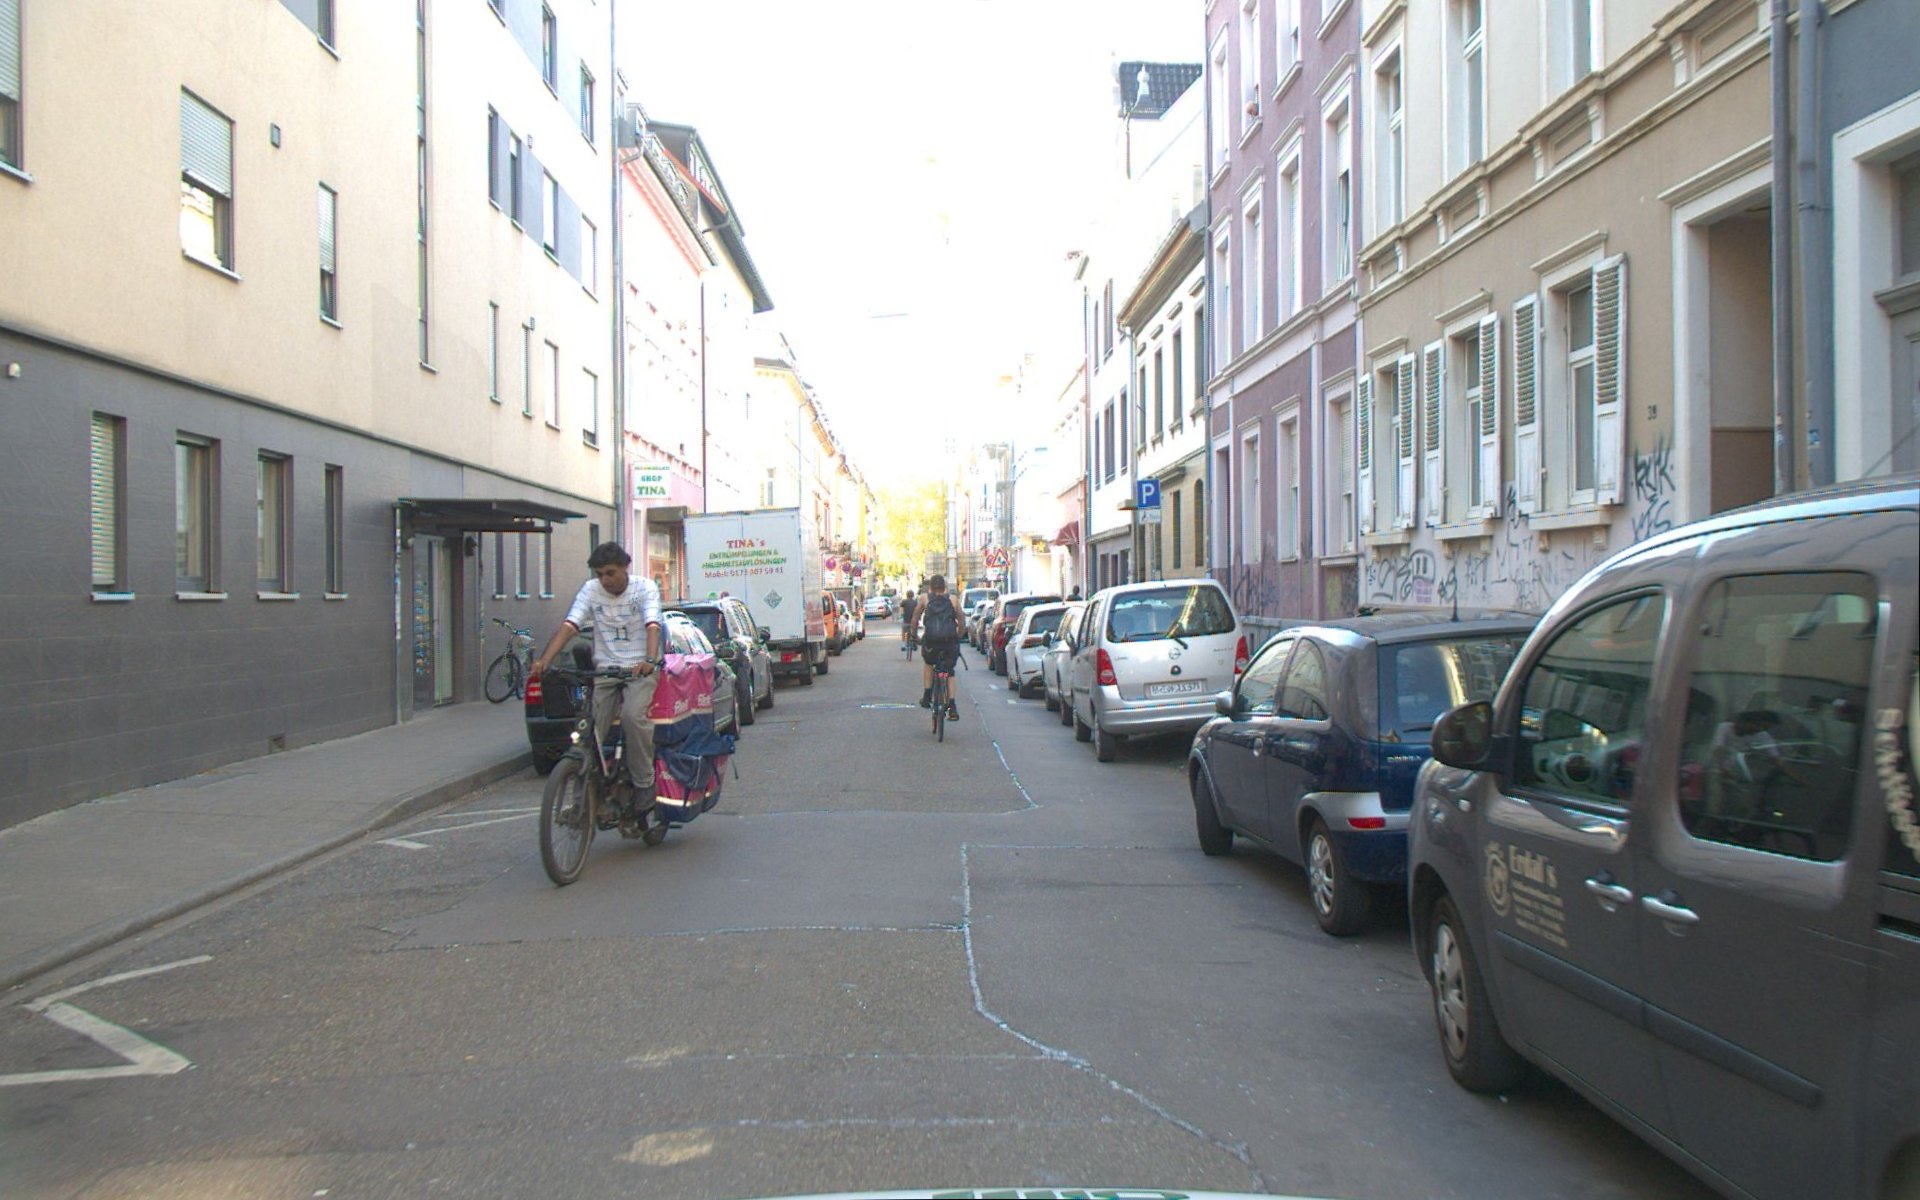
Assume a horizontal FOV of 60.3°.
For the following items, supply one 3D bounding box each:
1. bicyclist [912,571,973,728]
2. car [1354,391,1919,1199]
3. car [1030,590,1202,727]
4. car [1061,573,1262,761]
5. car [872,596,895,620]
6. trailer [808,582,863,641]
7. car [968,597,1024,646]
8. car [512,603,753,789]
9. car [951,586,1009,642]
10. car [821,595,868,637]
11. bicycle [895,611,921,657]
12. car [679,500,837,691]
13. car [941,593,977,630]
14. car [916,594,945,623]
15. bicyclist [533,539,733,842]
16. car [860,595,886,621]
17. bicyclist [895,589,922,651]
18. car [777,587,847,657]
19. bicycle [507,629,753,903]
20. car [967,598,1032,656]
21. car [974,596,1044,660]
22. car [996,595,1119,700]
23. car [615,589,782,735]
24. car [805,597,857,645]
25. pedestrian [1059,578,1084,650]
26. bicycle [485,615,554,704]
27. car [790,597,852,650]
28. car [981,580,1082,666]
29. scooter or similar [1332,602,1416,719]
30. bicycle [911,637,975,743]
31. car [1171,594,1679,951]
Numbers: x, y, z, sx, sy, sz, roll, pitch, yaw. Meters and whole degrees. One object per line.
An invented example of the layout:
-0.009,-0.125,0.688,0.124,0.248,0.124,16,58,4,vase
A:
-0.205,0.541,18.598,0.654,1.706,1.096,0,-1,-2,bicyclist
2.466,0.582,4.018,1.861,1.825,4.313,0,0,-2,car
1.990,0.725,22.318,1.663,1.570,4.627,-3,0,-2,car
1.987,0.639,17.142,1.525,1.742,3.557,0,-1,-2,car
-6.158,0.658,133.144,1.715,1.853,3.794,-2,0,-2,car
-4.694,0.448,62.742,1.844,2.129,3.735,-2,0,-2,trailer
1.162,0.702,54.659,1.714,1.513,3.799,-2,0,0,car
-3.236,0.867,17.181,1.682,1.504,4.497,-3,1,-2,car
0.694,0.492,59.709,1.716,1.911,3.969,-2,0,-4,car
-4.631,0.626,66.957,1.715,1.600,3.794,-2,0,-2,car
-1.336,0.871,42.676,0.635,1.149,2.135,0,-1,-2,bicycle
-3.902,-0.058,33.382,2.296,3.349,7.152,-3,0,-1,car
-0.055,0.534,77.319,1.579,1.662,3.609,0,0,-2,car
-1.704,0.495,93.275,1.579,1.587,3.609,0,0,-2,car
-1.901,0.503,9.759,0.931,1.656,0.953,-3,0,-1,bicyclist
-6.111,0.562,116.084,1.715,1.713,3.794,-2,0,-2,car
-1.335,0.515,42.678,0.657,1.595,0.716,0,-1,-3,bicyclist
-4.209,0.632,47.576,1.717,1.848,4.076,-3,0,-2,car
-1.885,0.891,9.918,0.957,1.337,2.555,-2,0,-1,bicycle
1.120,0.767,48.736,1.613,1.500,3.969,-5,0,-2,car
1.267,0.727,44.226,1.633,1.531,3.815,-3,0,-1,car
1.582,0.763,28.053,1.653,1.570,4.044,-3,0,-2,car
-3.490,0.759,22.773,1.682,1.679,4.244,-3,1,-2,car
-4.495,0.730,58.132,1.620,1.564,3.633,-2,0,-2,car
3.220,0.398,47.688,0.631,2.049,0.763,0,-1,-2,pedestrian
-6.298,0.832,23.710,0.480,1.185,1.773,-3,0,-1,bicycle
-4.417,0.739,53.097,1.715,1.564,4.317,-2,0,-2,car
1.494,0.456,36.106,1.879,1.736,4.364,-1,0,-2,car
4.536,0.644,18.189,0.441,1.203,1.368,-4,0,-2,scooter or similar
-0.208,0.978,18.562,0.663,1.093,1.941,0,-1,-2,bicycle
2.262,0.761,8.987,1.522,1.537,3.608,0,0,-4,car
